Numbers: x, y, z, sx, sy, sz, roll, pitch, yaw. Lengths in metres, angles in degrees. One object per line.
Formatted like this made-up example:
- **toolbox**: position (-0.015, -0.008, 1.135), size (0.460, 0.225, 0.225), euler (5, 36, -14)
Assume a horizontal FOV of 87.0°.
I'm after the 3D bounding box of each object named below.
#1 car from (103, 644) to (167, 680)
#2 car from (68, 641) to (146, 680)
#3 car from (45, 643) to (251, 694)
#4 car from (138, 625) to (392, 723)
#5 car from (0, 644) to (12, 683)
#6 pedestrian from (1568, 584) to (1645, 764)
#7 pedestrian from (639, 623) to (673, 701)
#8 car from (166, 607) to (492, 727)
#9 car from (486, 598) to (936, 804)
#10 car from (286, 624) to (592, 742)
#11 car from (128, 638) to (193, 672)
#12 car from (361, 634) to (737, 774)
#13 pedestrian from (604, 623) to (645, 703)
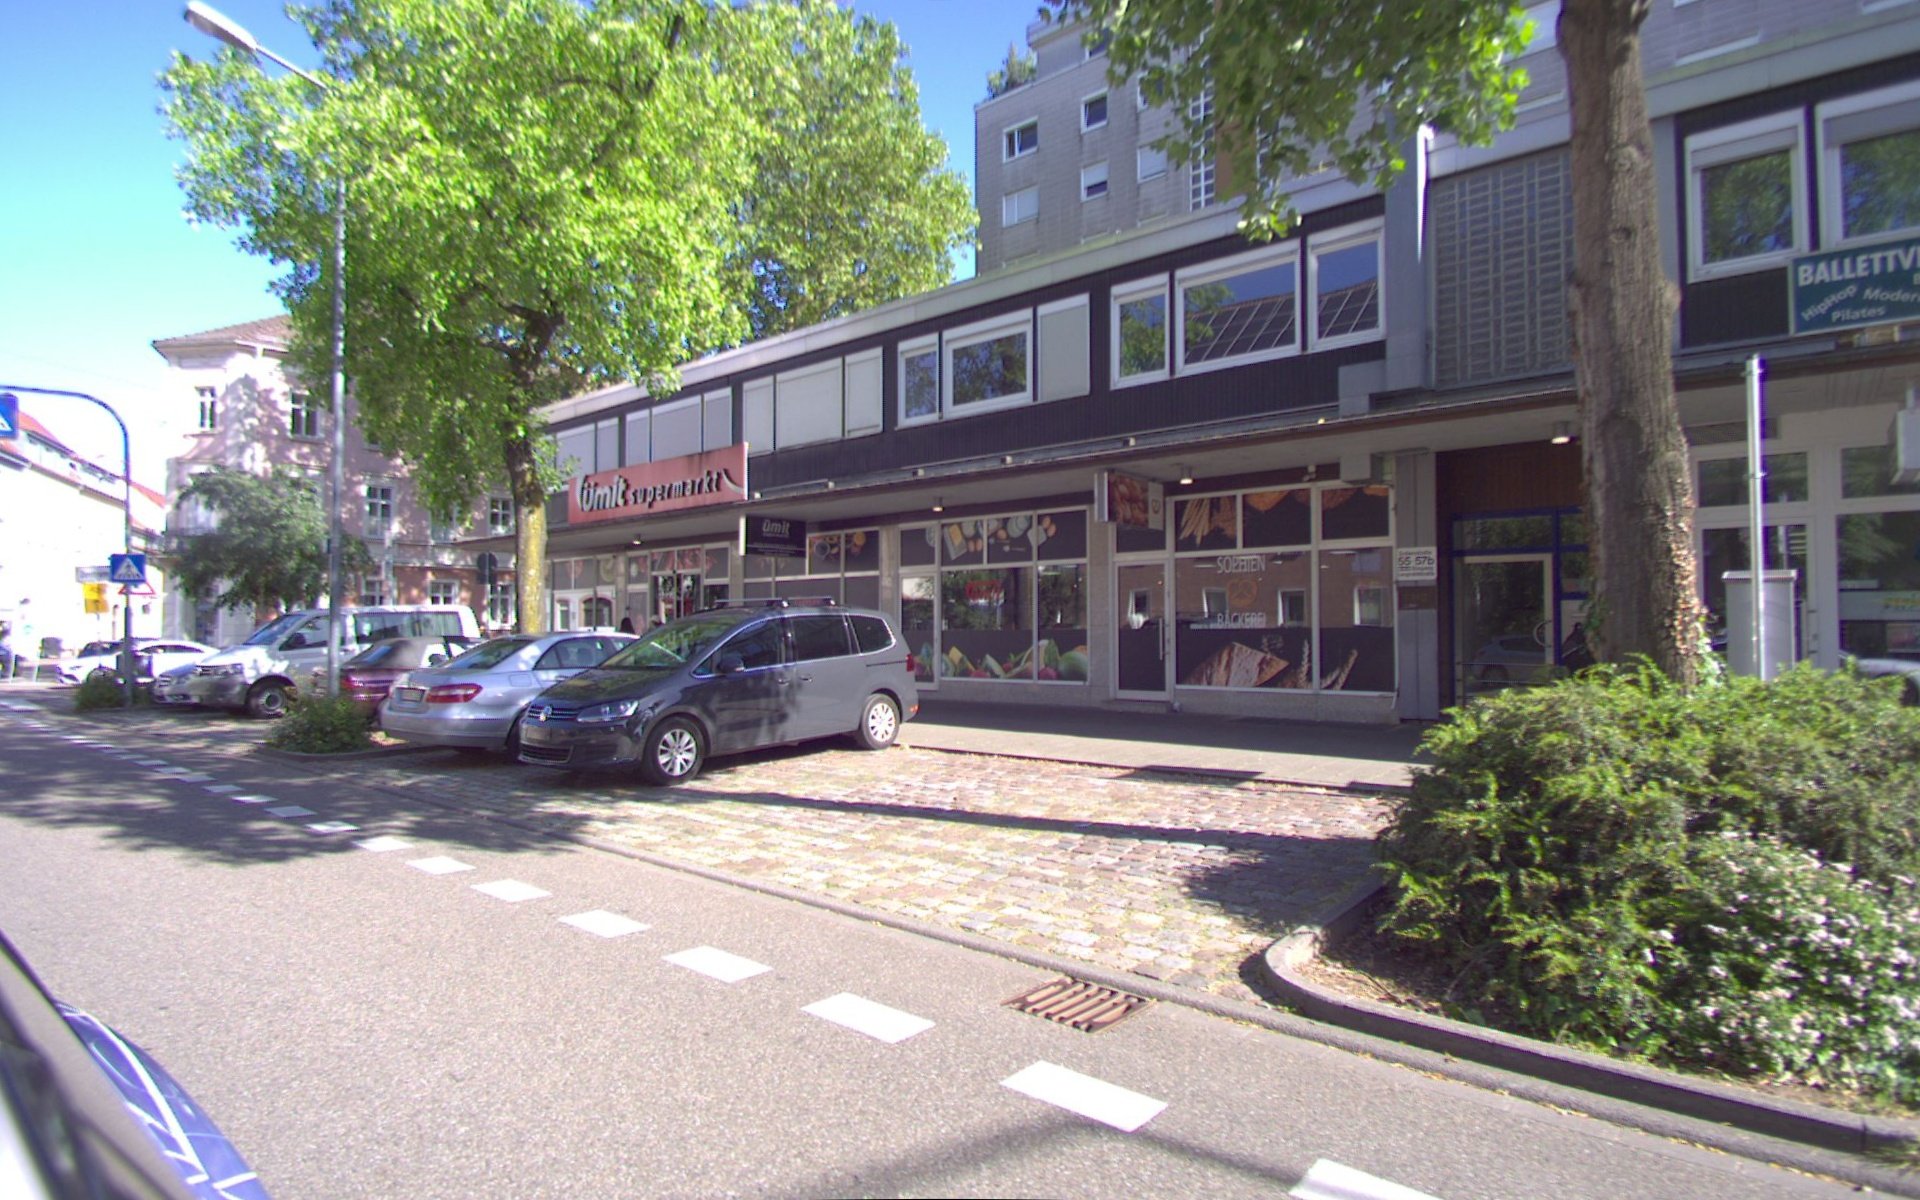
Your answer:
- **car**: position (-40.143, 2.974, 49.304), size (1.482, 1.674, 4.013), euler (1, -2, -26)
- **car**: position (-37.667, 2.633, 44.801), size (1.645, 1.650, 4.061), euler (0, -2, -26)
- **car**: position (-25.223, 2.080, 31.599), size (1.999, 1.436, 4.740), euler (-2, -3, 40)
- **car**: position (-14.087, 1.434, 20.702), size (1.756, 1.805, 3.947), euler (-2, -3, 39)
- **car**: position (-37.226, 2.386, 37.877), size (1.967, 1.475, 4.010), euler (1, -3, -35)
- **pedestrian**: position (6.257, 0.705, 9.796), size (0.532, 1.678, 0.439), euler (-2, -3, 41)
- **pedestrian**: position (-6.270, 1.270, 20.850), size (0.498, 1.567, 0.468), euler (-2, -1, 41)
- **car**: position (-11.823, 1.145, 19.306), size (1.907, 1.984, 4.934), euler (-2, -2, 38)
- **car**: position (-2.502, 0.907, 11.287), size (1.872, 1.791, 4.723), euler (-2, -1, 38)
- **car**: position (-8.163, 1.217, 16.146), size (1.735, 1.431, 3.949), euler (-2, 0, 38)
- **car**: position (-42.070, 2.863, 53.359), size (1.827, 1.674, 4.013), euler (1, -2, -26)
- **car**: position (-4.851, 1.139, 12.414), size (1.757, 1.409, 3.948), euler (-2, -3, 38)
- **pedestrian**: position (-6.794, 1.261, 20.481), size (0.662, 1.567, 0.522), euler (-2, -1, 41)
